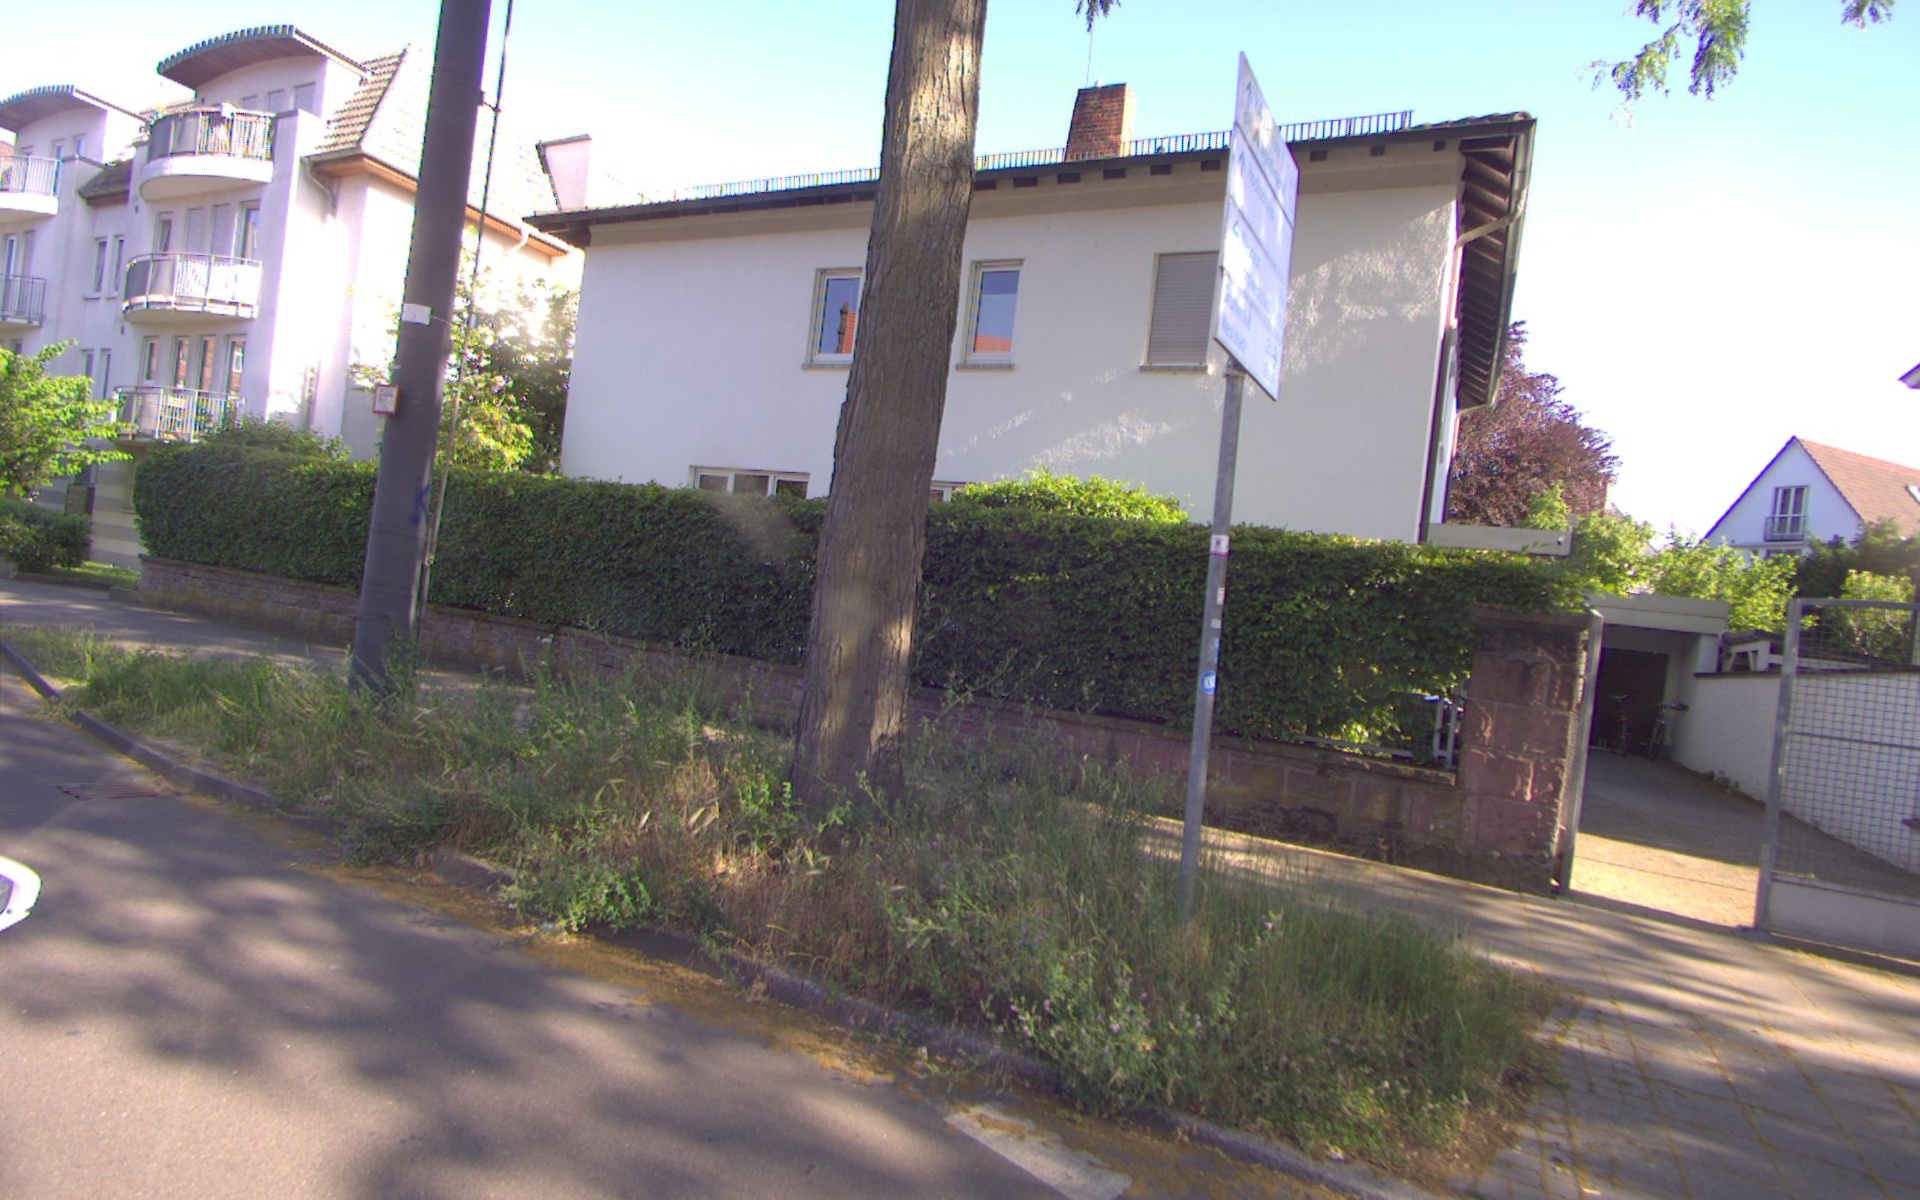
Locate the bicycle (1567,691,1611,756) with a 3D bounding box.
[{"bbox_3d":[12.030,2.344,19.280,0.512,1.135,1.465,7,-1,29],"label":"bicycle"}]

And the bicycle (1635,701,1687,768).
[{"bbox_3d":[12.972,2.467,18.643,0.512,1.135,1.465,7,-1,29],"label":"bicycle"}]

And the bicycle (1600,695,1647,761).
[{"bbox_3d":[12.515,2.397,18.997,0.512,1.135,1.465,7,-1,29],"label":"bicycle"}]

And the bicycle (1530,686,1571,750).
[{"bbox_3d":[11.508,2.287,19.627,0.512,1.135,1.465,7,-1,29],"label":"bicycle"}]
